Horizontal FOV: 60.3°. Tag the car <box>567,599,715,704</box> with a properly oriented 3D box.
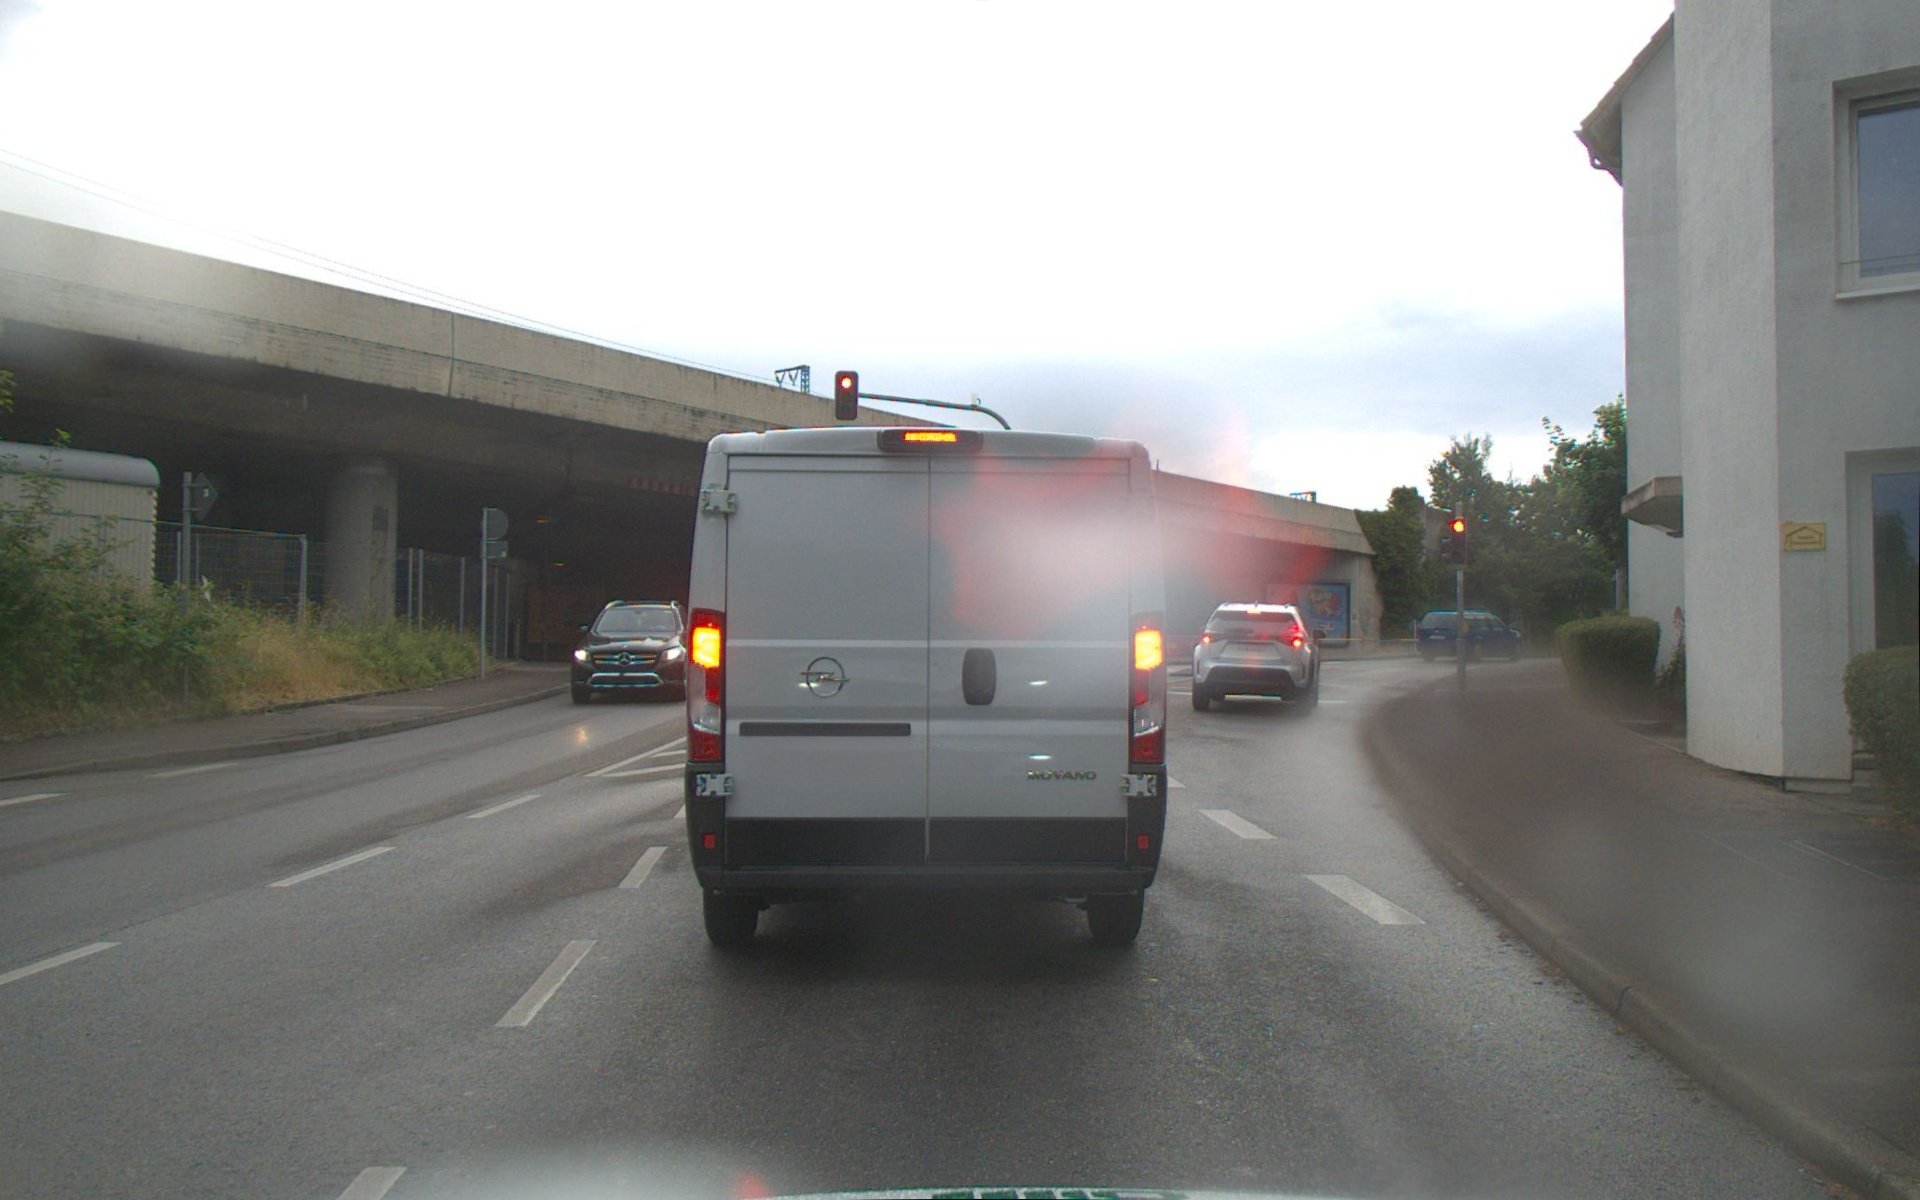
[{"bbox_3d":[-5.364,0.831,28.353,1.876,1.655,4.432,0,0,-3],"label":"car"}]

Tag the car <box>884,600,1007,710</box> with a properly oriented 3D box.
[{"bbox_3d":[-0.173,0.944,28.746,1.952,1.759,4.000,0,-2,2],"label":"car"}]

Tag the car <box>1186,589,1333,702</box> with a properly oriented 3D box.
[{"bbox_3d":[4.658,0.695,25.291,1.951,1.576,4.002,0,-2,14],"label":"car"}]

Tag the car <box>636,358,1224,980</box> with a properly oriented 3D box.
[{"bbox_3d":[-0.140,0.353,9.048,2.258,2.385,5.280,-1,-2,-1],"label":"car"}]

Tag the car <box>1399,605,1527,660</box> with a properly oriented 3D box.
[{"bbox_3d":[14.797,0.961,48.568,3.970,1.545,1.967,2,-2,-45],"label":"car"}]
